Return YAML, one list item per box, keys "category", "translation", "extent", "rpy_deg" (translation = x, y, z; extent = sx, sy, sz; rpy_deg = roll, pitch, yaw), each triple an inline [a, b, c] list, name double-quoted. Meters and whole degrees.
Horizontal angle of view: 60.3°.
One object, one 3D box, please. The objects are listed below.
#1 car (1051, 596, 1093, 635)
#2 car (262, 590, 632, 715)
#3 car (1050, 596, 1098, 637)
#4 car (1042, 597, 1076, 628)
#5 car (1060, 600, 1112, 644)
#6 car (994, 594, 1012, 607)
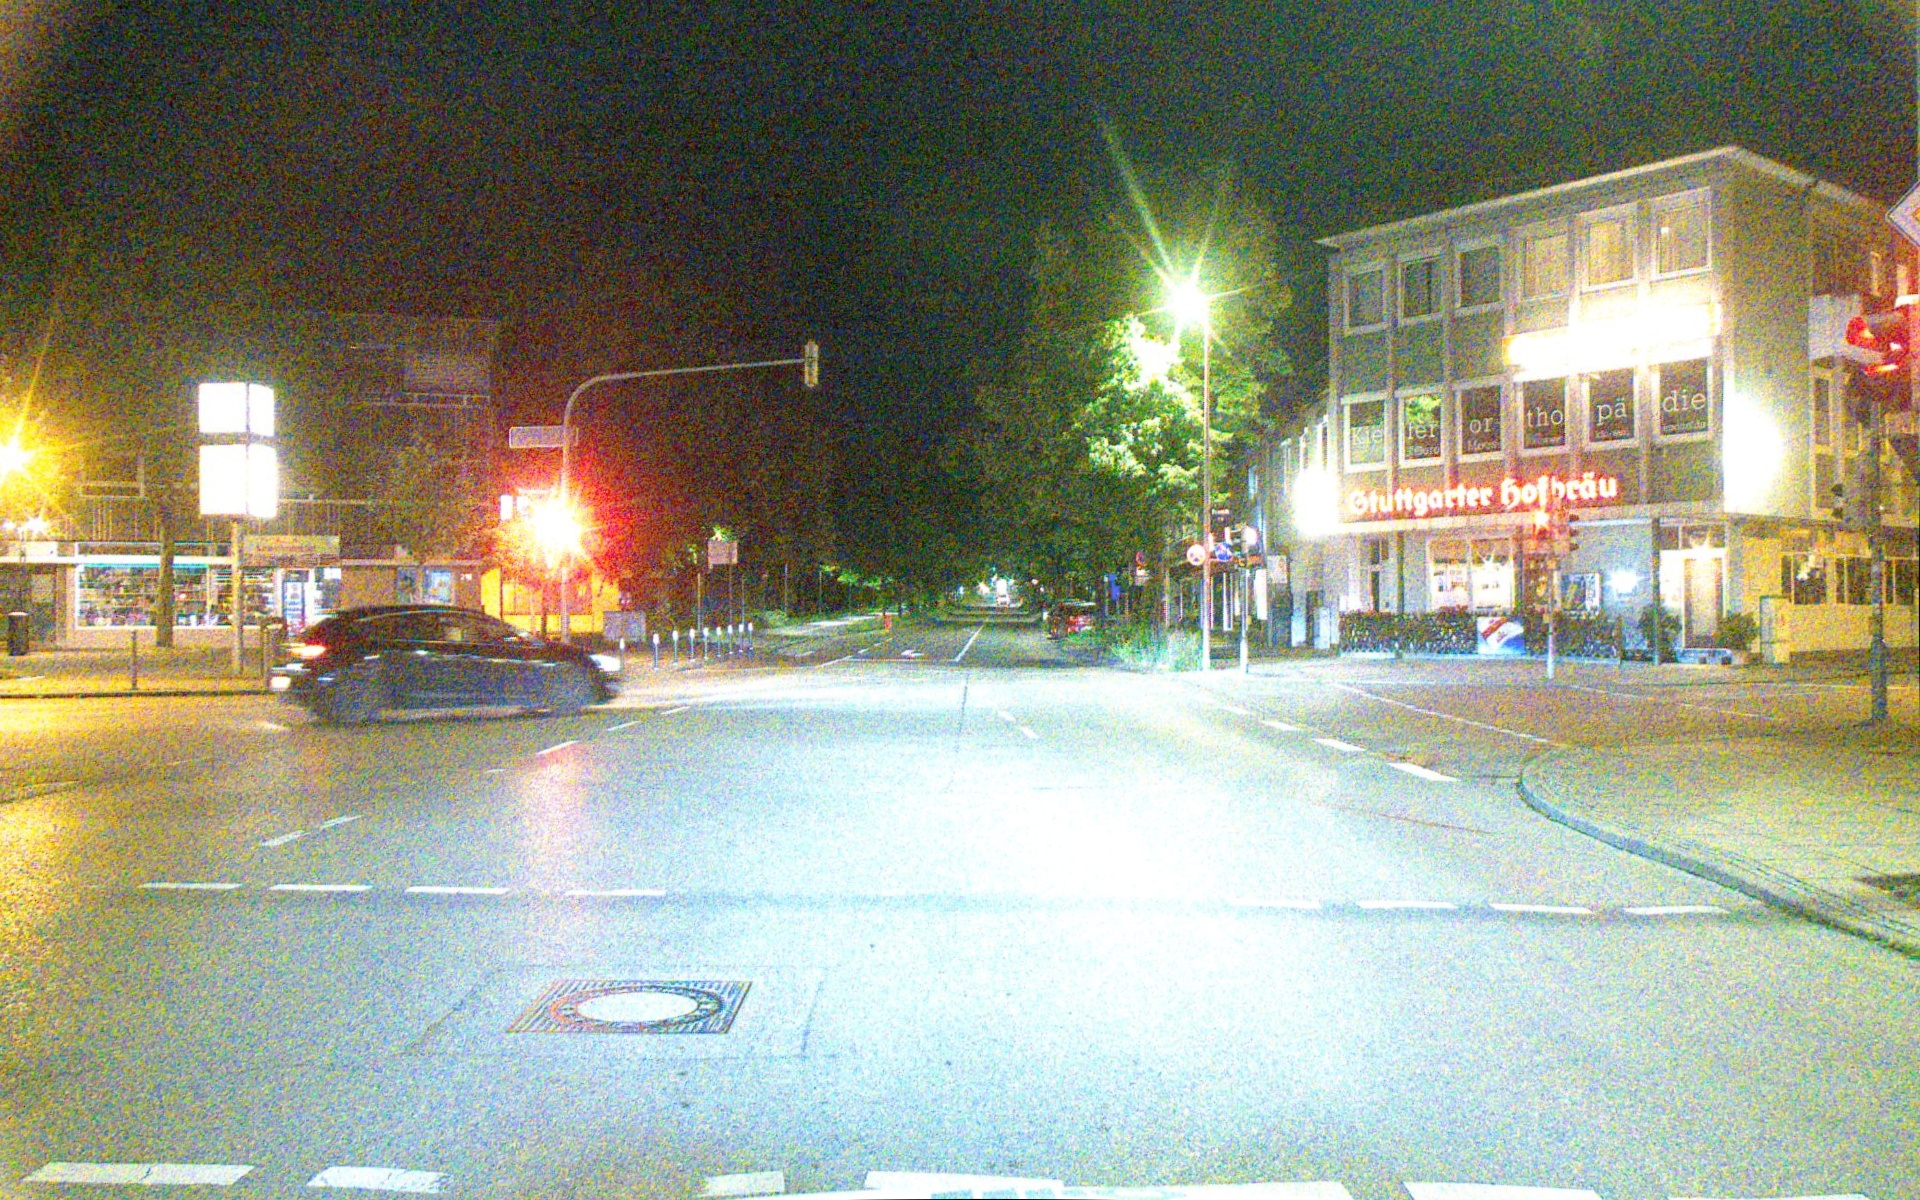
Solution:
- category: "car"
  translation: [5.150, 0.709, 76.535]
  extent: [1.837, 1.759, 4.001]
  rpy_deg: [0, 0, 2]
- category: "car"
  translation: [-6.613, 0.649, 21.436]
  extent: [4.259, 1.479, 1.860]
  rpy_deg: [1, 0, -31]
- category: "car"
  translation: [4.726, 0.679, 68.858]
  extent: [1.837, 1.643, 4.001]
  rpy_deg: [0, 0, 2]
- category: "car"
  translation: [5.654, 0.697, 94.602]
  extent: [1.837, 1.713, 4.001]
  rpy_deg: [0, 0, 2]
- category: "car"
  translation: [4.797, 0.832, 63.552]
  extent: [1.837, 1.643, 4.001]
  rpy_deg: [0, 0, 2]
- category: "car"
  translation: [5.496, 0.060, 212.319]
  extent: [2.181, 1.680, 4.000]
  rpy_deg: [0, 0, 0]
